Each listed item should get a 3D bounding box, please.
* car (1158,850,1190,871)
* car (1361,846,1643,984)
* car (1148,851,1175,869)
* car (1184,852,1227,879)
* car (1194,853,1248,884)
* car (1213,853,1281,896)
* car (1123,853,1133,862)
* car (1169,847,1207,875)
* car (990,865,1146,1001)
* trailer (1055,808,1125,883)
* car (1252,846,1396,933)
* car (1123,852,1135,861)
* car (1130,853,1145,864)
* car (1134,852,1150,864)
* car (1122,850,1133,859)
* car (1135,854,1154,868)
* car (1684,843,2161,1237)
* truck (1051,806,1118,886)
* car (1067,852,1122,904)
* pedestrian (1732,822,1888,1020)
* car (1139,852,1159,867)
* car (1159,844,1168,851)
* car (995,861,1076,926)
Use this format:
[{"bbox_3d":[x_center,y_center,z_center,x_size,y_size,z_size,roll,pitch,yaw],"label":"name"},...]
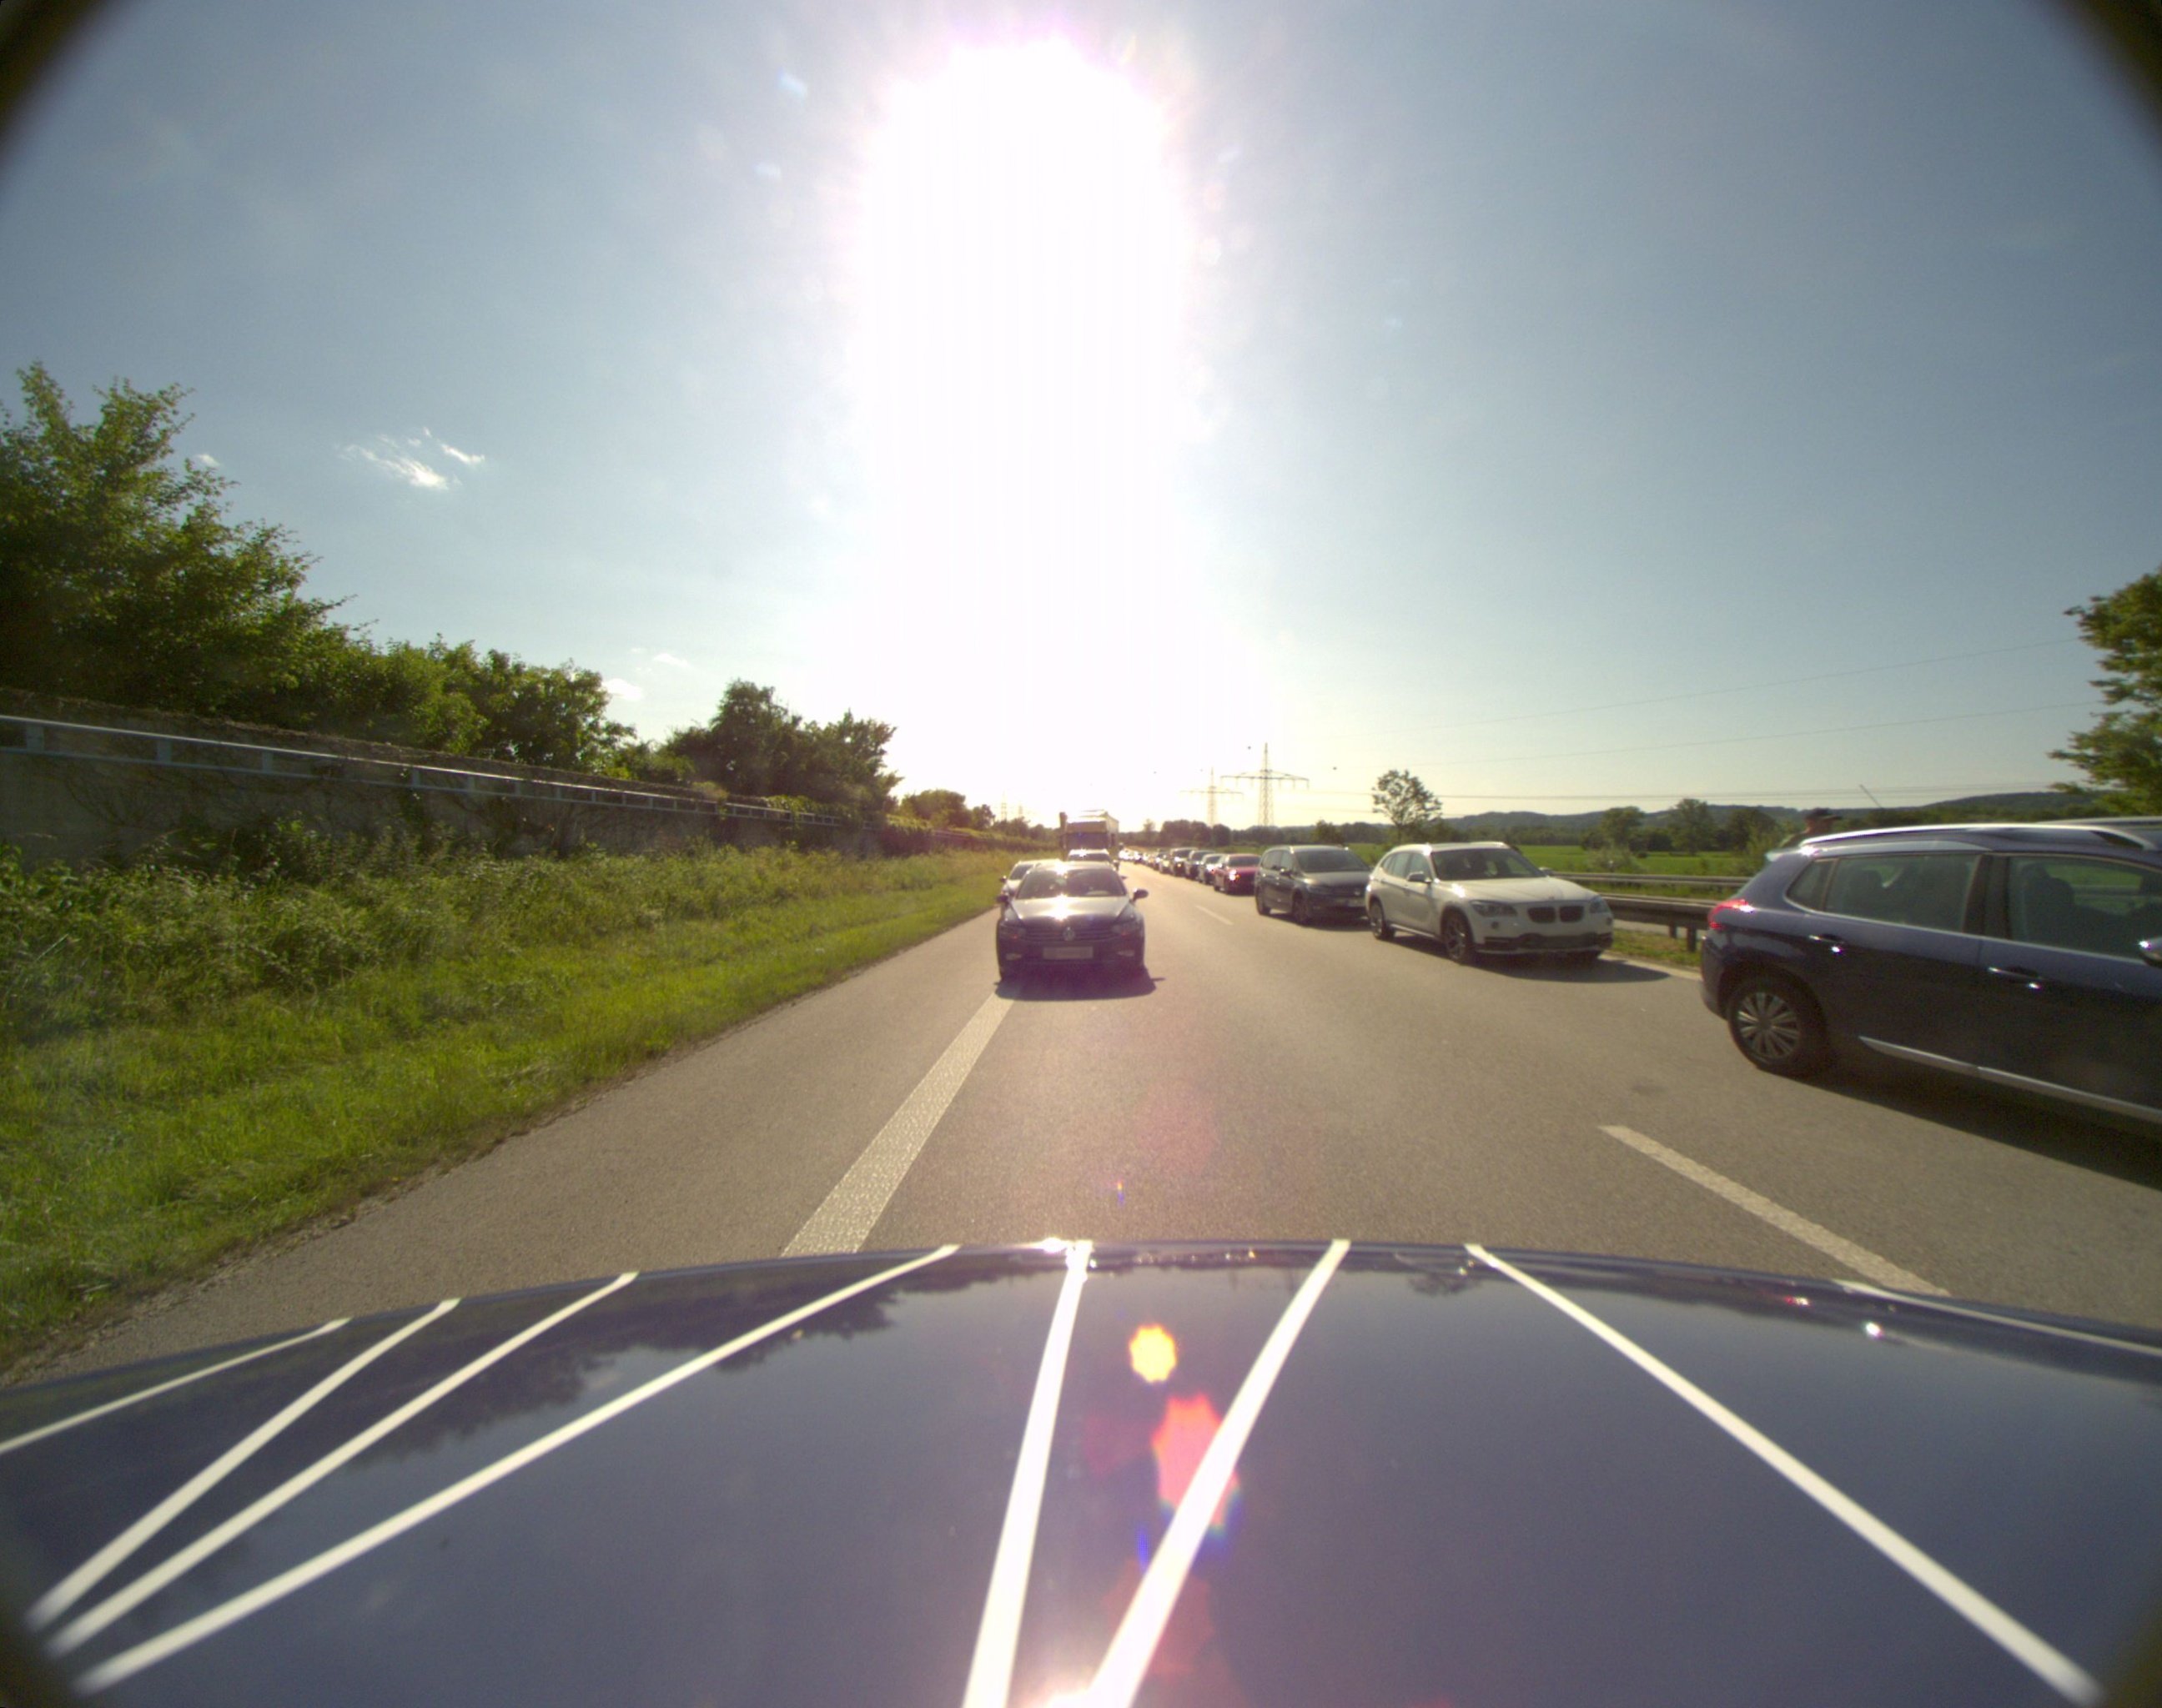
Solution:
[{"bbox_3d":[6.949,0.473,57.185,1.998,1.522,4.000,-1,0,1],"label":"car"},{"bbox_3d":[5.639,0.700,10.881,1.832,1.564,4.164,-1,0,2],"label":"car"},{"bbox_3d":[7.034,0.525,66.480,1.998,1.522,4.000,-1,0,1],"label":"car"},{"bbox_3d":[7.004,0.619,43.138,1.894,1.446,4.000,-1,0,2],"label":"car"},{"bbox_3d":[6.757,0.675,37.052,1.895,1.390,4.000,-1,0,1],"label":"car"},{"bbox_3d":[6.110,0.710,28.361,1.819,1.450,4.118,-1,0,3],"label":"car"},{"bbox_3d":[8.127,0.590,131.712,1.819,1.450,4.118,-1,0,3],"label":"car"},{"bbox_3d":[7.003,0.433,50.009,1.902,1.777,4.200,-1,0,1],"label":"car"},{"bbox_3d":[-0.085,0.929,10.787,1.716,1.405,4.326,-2,0,2],"label":"car"},{"bbox_3d":[0.889,-0.565,49.555,3.386,4.089,13.956,-2,1,5],"label":"trailer"},{"bbox_3d":[5.090,0.667,16.514,1.819,1.606,4.117,-2,0,1],"label":"car"},{"bbox_3d":[7.986,0.431,126.066,1.819,1.450,4.118,-2,0,3],"label":"car"},{"bbox_3d":[7.827,0.586,105.690,1.819,1.450,4.117,-2,0,1],"label":"car"},{"bbox_3d":[7.805,0.544,97.262,1.819,1.450,4.118,-1,0,2],"label":"car"},{"bbox_3d":[8.564,0.093,141.040,1.813,1.783,3.773,-1,0,1],"label":"car"},{"bbox_3d":[7.209,0.784,86.578,1.819,1.450,4.117,-1,0,1],"label":"car"},{"bbox_3d":[5.157,0.743,3.382,1.692,1.526,3.948,-3,0,-2],"label":"car"},{"bbox_3d":[0.345,-0.476,43.468,3.332,4.089,6.970,-2,1,3],"label":"truck"},{"bbox_3d":[0.488,0.775,26.619,1.716,1.614,4.326,-2,0,2],"label":"car"},{"bbox_3d":[6.782,0.590,7.113,0.672,1.740,0.814,-1,1,1],"label":"pedestrian"},{"bbox_3d":[7.129,0.585,79.985,1.819,1.450,4.118,-2,0,3],"label":"car"},{"bbox_3d":[21.599,-1.741,199.368,1.863,1.622,4.393,-2,1,3],"label":"car"},{"bbox_3d":[-1.092,0.953,20.193,1.716,1.417,4.326,-2,0,2],"label":"car"}]
